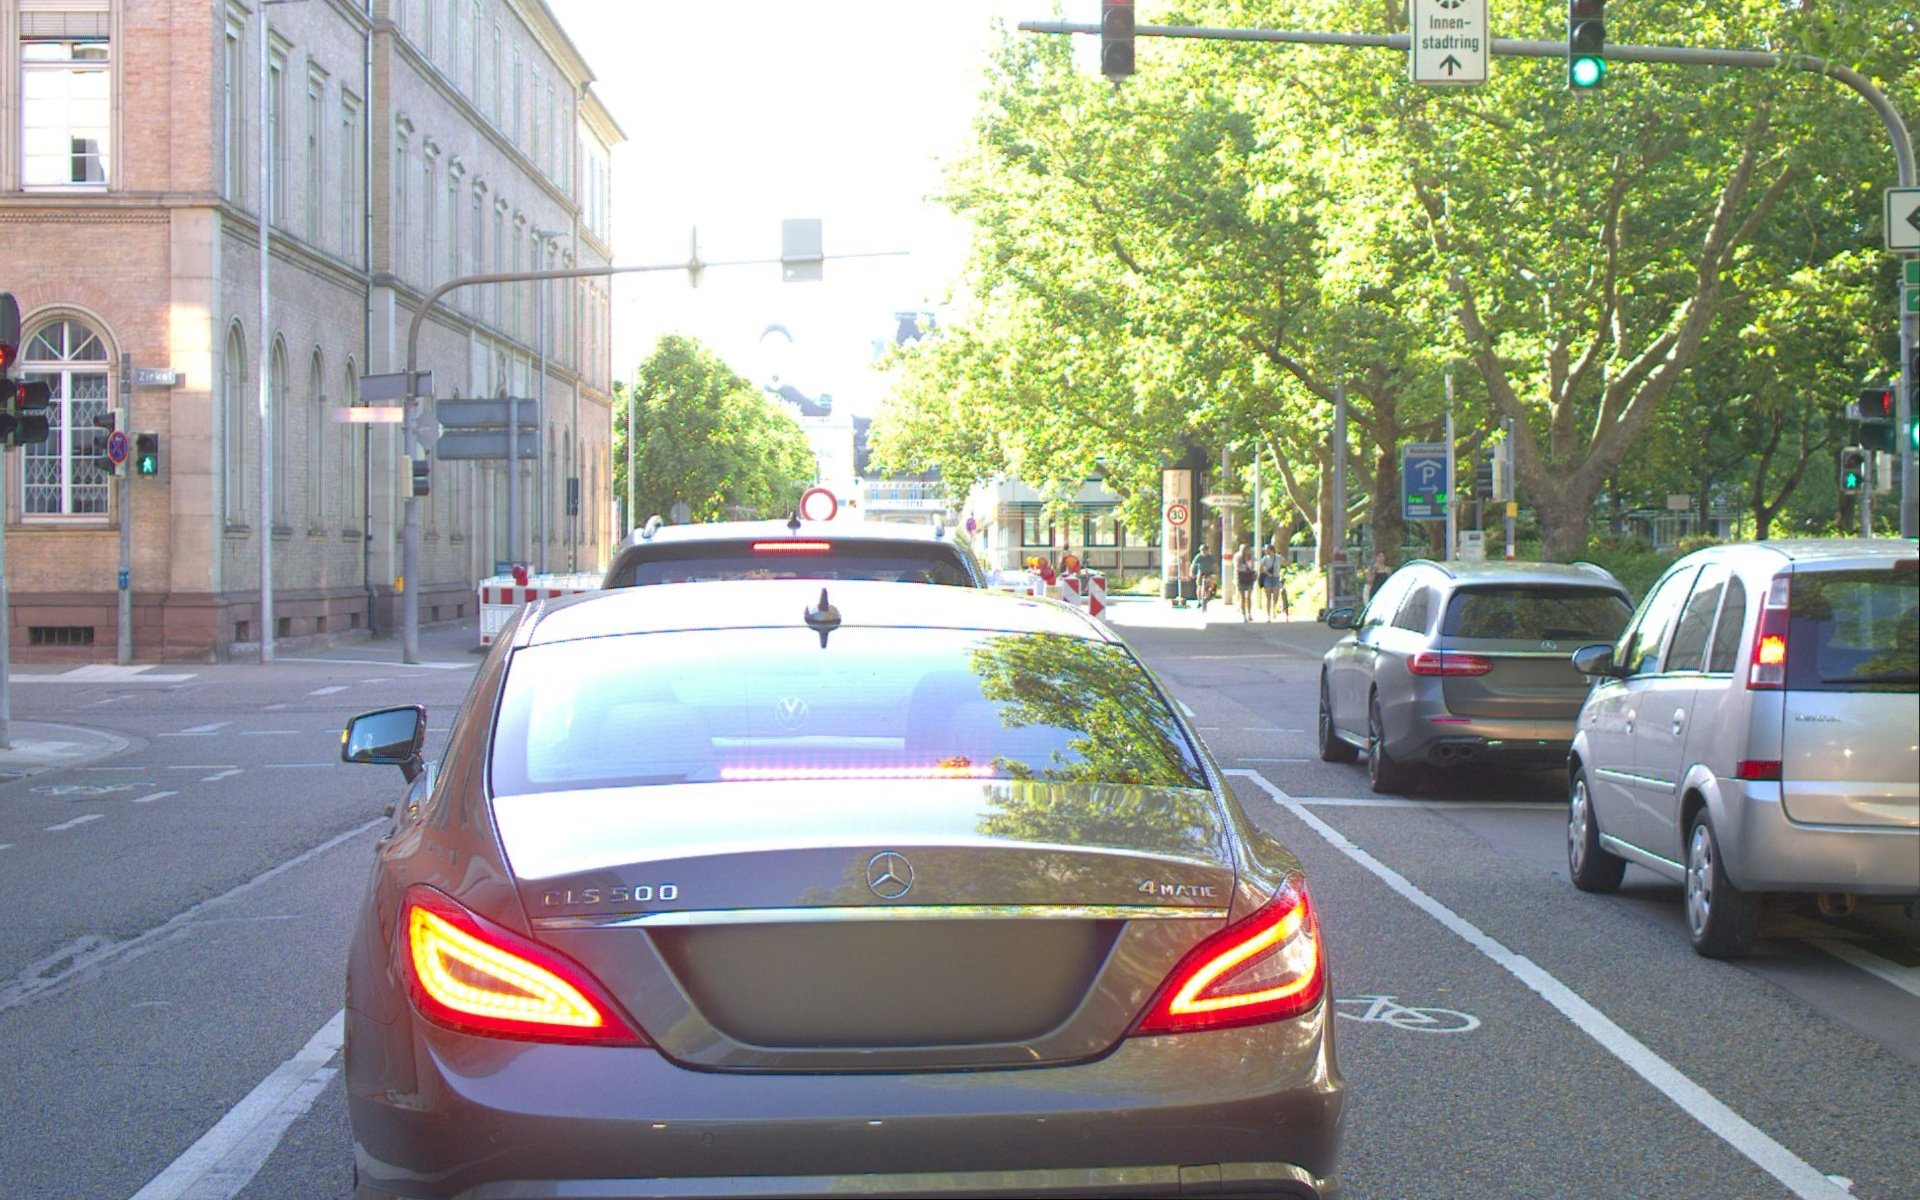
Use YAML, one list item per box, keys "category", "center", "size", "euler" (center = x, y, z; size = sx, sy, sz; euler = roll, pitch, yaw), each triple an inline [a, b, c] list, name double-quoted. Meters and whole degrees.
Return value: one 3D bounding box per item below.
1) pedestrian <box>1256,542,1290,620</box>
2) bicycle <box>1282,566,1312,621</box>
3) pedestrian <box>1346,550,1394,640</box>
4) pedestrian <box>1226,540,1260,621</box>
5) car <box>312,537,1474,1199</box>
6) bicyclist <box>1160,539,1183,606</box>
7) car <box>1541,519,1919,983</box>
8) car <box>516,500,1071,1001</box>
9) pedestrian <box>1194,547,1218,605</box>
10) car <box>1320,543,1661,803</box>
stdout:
- category: "pedestrian"
  center: [7.023, -0.427, 77.205]
  size: [0.635, 1.754, 0.699]
  euler: [1, 0, -4]
- category: "bicycle"
  center: [7.540, -0.150, 77.009]
  size: [0.482, 1.198, 1.606]
  euler: [1, 0, -1]
- category: "pedestrian"
  center: [7.057, -0.093, 59.215]
  size: [0.635, 1.540, 0.910]
  euler: [1, 0, -4]
- category: "pedestrian"
  center: [6.360, -0.442, 77.300]
  size: [0.635, 1.791, 0.699]
  euler: [1, 0, -4]
- category: "car"
  center: [-0.363, 0.629, 7.477]
  size: [1.861, 1.514, 4.001]
  euler: [0, 1, -8]
- category: "bicyclist"
  center: [6.464, -0.843, 104.970]
  size: [0.594, 2.032, 0.566]
  euler: [1, 0, -4]
- category: "car"
  center: [3.600, 0.530, 14.160]
  size: [1.731, 1.656, 3.681]
  euler: [1, 1, -1]
- category: "car"
  center: [-0.585, 0.474, 13.607]
  size: [1.861, 1.677, 4.000]
  euler: [0, 1, -1]
- category: "pedestrian"
  center: [6.389, -0.621, 89.264]
  size: [0.555, 1.504, 0.346]
  euler: [1, 0, -4]
- category: "car"
  center: [3.377, 0.419, 22.478]
  size: [1.601, 1.543, 3.681]
  euler: [1, 1, -1]
